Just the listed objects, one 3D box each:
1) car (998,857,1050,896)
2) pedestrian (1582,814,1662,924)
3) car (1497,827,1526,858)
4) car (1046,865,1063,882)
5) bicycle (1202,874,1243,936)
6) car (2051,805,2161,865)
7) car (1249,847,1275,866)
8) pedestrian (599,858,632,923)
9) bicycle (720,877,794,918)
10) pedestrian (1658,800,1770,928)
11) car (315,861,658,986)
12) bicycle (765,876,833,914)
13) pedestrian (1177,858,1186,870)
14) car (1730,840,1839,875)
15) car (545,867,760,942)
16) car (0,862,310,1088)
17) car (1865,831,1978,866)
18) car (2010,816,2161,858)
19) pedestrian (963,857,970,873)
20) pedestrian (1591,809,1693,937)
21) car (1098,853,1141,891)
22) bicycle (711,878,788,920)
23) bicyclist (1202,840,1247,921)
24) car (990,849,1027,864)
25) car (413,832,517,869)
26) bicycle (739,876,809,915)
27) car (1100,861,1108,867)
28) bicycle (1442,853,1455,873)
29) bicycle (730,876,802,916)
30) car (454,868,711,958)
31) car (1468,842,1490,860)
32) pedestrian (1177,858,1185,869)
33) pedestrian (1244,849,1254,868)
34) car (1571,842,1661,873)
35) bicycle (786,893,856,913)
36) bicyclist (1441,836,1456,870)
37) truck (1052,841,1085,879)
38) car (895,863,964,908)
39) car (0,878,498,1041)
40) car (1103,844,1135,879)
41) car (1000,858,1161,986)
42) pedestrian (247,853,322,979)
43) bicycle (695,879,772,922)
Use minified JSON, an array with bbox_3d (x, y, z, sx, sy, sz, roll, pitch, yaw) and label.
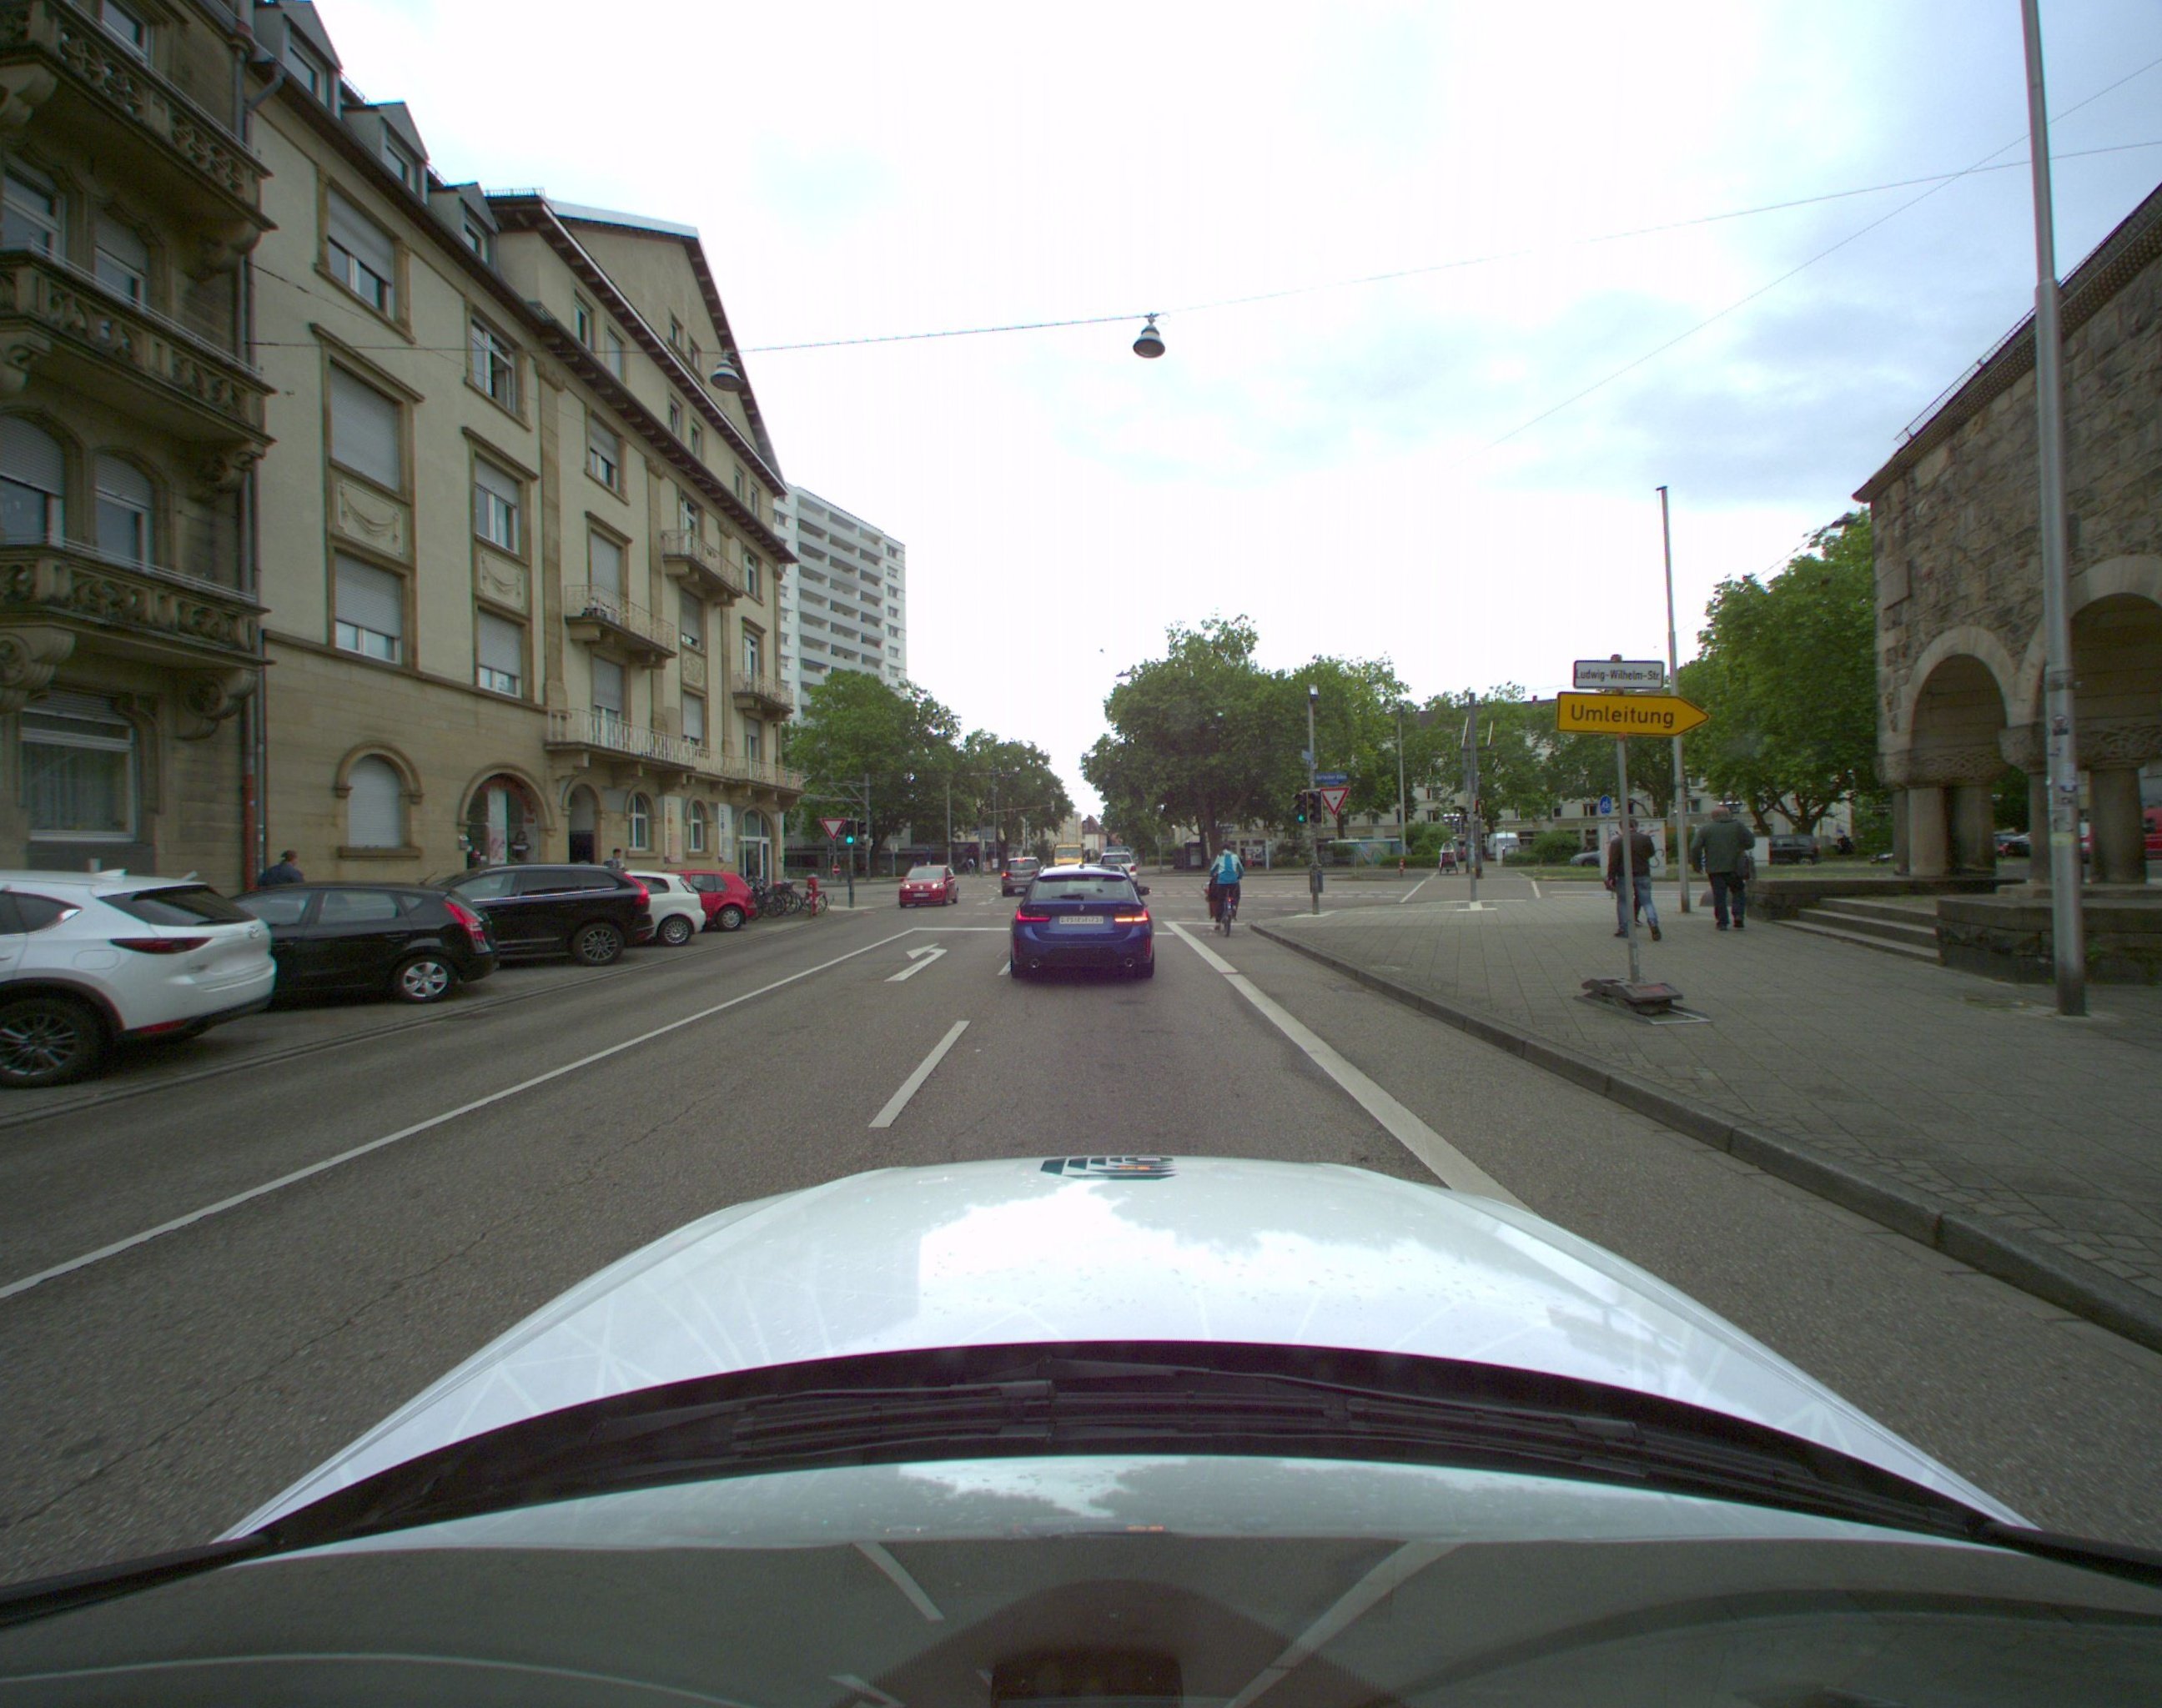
[{"bbox_3d":[-2.351,0.910,34.595,1.726,1.525,4.002,-2,0,2],"label":"car"},{"bbox_3d":[8.725,0.230,13.170,0.629,1.673,0.971,-4,-1,8],"label":"pedestrian"},{"bbox_3d":[39.120,-1.023,74.027,2.214,2.639,5.480,-2,0,28],"label":"car"},{"bbox_3d":[-3.505,2.528,106.765,1.913,2.013,3.938,-2,0,2],"label":"car"},{"bbox_3d":[2.817,0.991,16.325,0.492,1.098,2.139,-2,0,2],"label":"bicycle"},{"bbox_3d":[47.861,-0.875,36.312,5.541,2.538,2.004,-2,-1,25],"label":"car"},{"bbox_3d":[22.118,0.324,99.656,2.154,2.200,4.024,-2,-1,26],"label":"car"},{"bbox_3d":[-13.081,1.025,22.884,0.564,1.785,0.551,-2,0,3],"label":"pedestrian"},{"bbox_3d":[-9.304,1.244,23.428,1.880,1.035,0.442,4,0,-1],"label":"bicycle"},{"bbox_3d":[9.309,0.141,12.019,0.801,1.758,0.969,-4,-1,2],"label":"pedestrian"},{"bbox_3d":[-9.373,0.976,13.128,4.248,1.652,1.711,0,-1,-41],"label":"car"},{"bbox_3d":[-8.732,1.272,25.259,1.880,1.035,0.442,4,0,-1],"label":"bicycle"},{"bbox_3d":[11.755,1.141,95.206,0.850,1.314,0.763,-2,-1,2],"label":"pedestrian"},{"bbox_3d":[36.356,0.194,42.213,3.901,1.711,1.697,-2,-1,25],"label":"car"},{"bbox_3d":[-9.667,1.054,18.607,1.663,1.472,4.024,0,0,43],"label":"car"},{"bbox_3d":[-9.456,0.962,6.779,4.004,1.723,1.827,-1,-1,-23],"label":"car"},{"bbox_3d":[41.044,-0.231,39.860,3.424,1.561,1.697,-2,-1,25],"label":"car"},{"bbox_3d":[55.806,-0.907,45.316,5.025,2.096,2.004,-2,-1,25],"label":"car"},{"bbox_3d":[-12.618,1.222,89.767,0.570,1.785,0.622,-2,0,10],"label":"pedestrian"},{"bbox_3d":[7.848,0.255,11.430,0.672,1.686,0.969,-4,-1,2],"label":"pedestrian"},{"bbox_3d":[1.715,0.784,37.184,1.808,1.592,4.002,-2,0,2],"label":"car"},{"bbox_3d":[-9.308,1.258,22.892,1.880,1.035,0.442,4,0,-1],"label":"bicycle"},{"bbox_3d":[2.821,0.507,16.113,0.683,1.518,1.059,-2,0,2],"label":"bicyclist"},{"bbox_3d":[-8.848,0.284,98.854,4.014,1.706,1.980,-1,-1,-32],"label":"car"},{"bbox_3d":[-14.754,-0.065,19.591,0.910,0.834,2.015,-1,-1,2],"label":"car"},{"bbox_3d":[-9.313,1.248,24.727,1.880,1.035,0.442,4,0,-1],"label":"bicycle"},{"bbox_3d":[5.538,2.379,198.389,1.846,1.453,4.169,-1,0,2],"label":"car"},{"bbox_3d":[18.625,0.454,41.269,0.546,0.995,2.072,-2,-1,24],"label":"bicycle"},{"bbox_3d":[-9.299,1.227,24.090,1.880,1.035,0.442,4,0,-1],"label":"bicycle"},{"bbox_3d":[-9.528,1.049,15.757,4.021,1.472,1.546,1,0,-41],"label":"car"},{"bbox_3d":[35.551,-0.307,72.704,1.649,1.515,3.962,-2,0,28],"label":"car"},{"bbox_3d":[11.799,1.120,96.144,0.814,1.372,0.763,-2,-1,2],"label":"pedestrian"},{"bbox_3d":[15.932,0.405,77.227,0.781,1.744,0.925,-2,-1,0],"label":"pedestrian"},{"bbox_3d":[29.616,0.218,45.229,3.940,1.561,1.697,-2,-1,25],"label":"car"},{"bbox_3d":[-8.361,1.565,26.287,1.880,0.445,1.029,4,1,0],"label":"bicycle"},{"bbox_3d":[18.604,-0.046,41.242,0.608,1.654,0.758,-2,-1,23],"label":"bicyclist"},{"bbox_3d":[-0.778,0.388,55.763,2.068,2.408,5.462,-2,0,0],"label":"truck"},{"bbox_3d":[-5.327,1.071,29.070,1.643,1.447,3.513,-2,0,2],"label":"car"},{"bbox_3d":[-9.554,1.099,9.881,4.017,1.494,1.713,-1,-1,-36],"label":"car"},{"bbox_3d":[2.325,0.462,50.039,1.808,2.005,4.002,-2,0,2],"label":"car"},{"bbox_3d":[0.070,0.799,11.557,1.808,1.405,4.322,-2,0,2],"label":"car"},{"bbox_3d":[-12.738,0.969,13.032,0.616,1.958,0.551,-2,0,3],"label":"pedestrian"},{"bbox_3d":[-9.426,1.255,22.078,1.877,1.036,0.443,3,0,4],"label":"bicycle"}]
